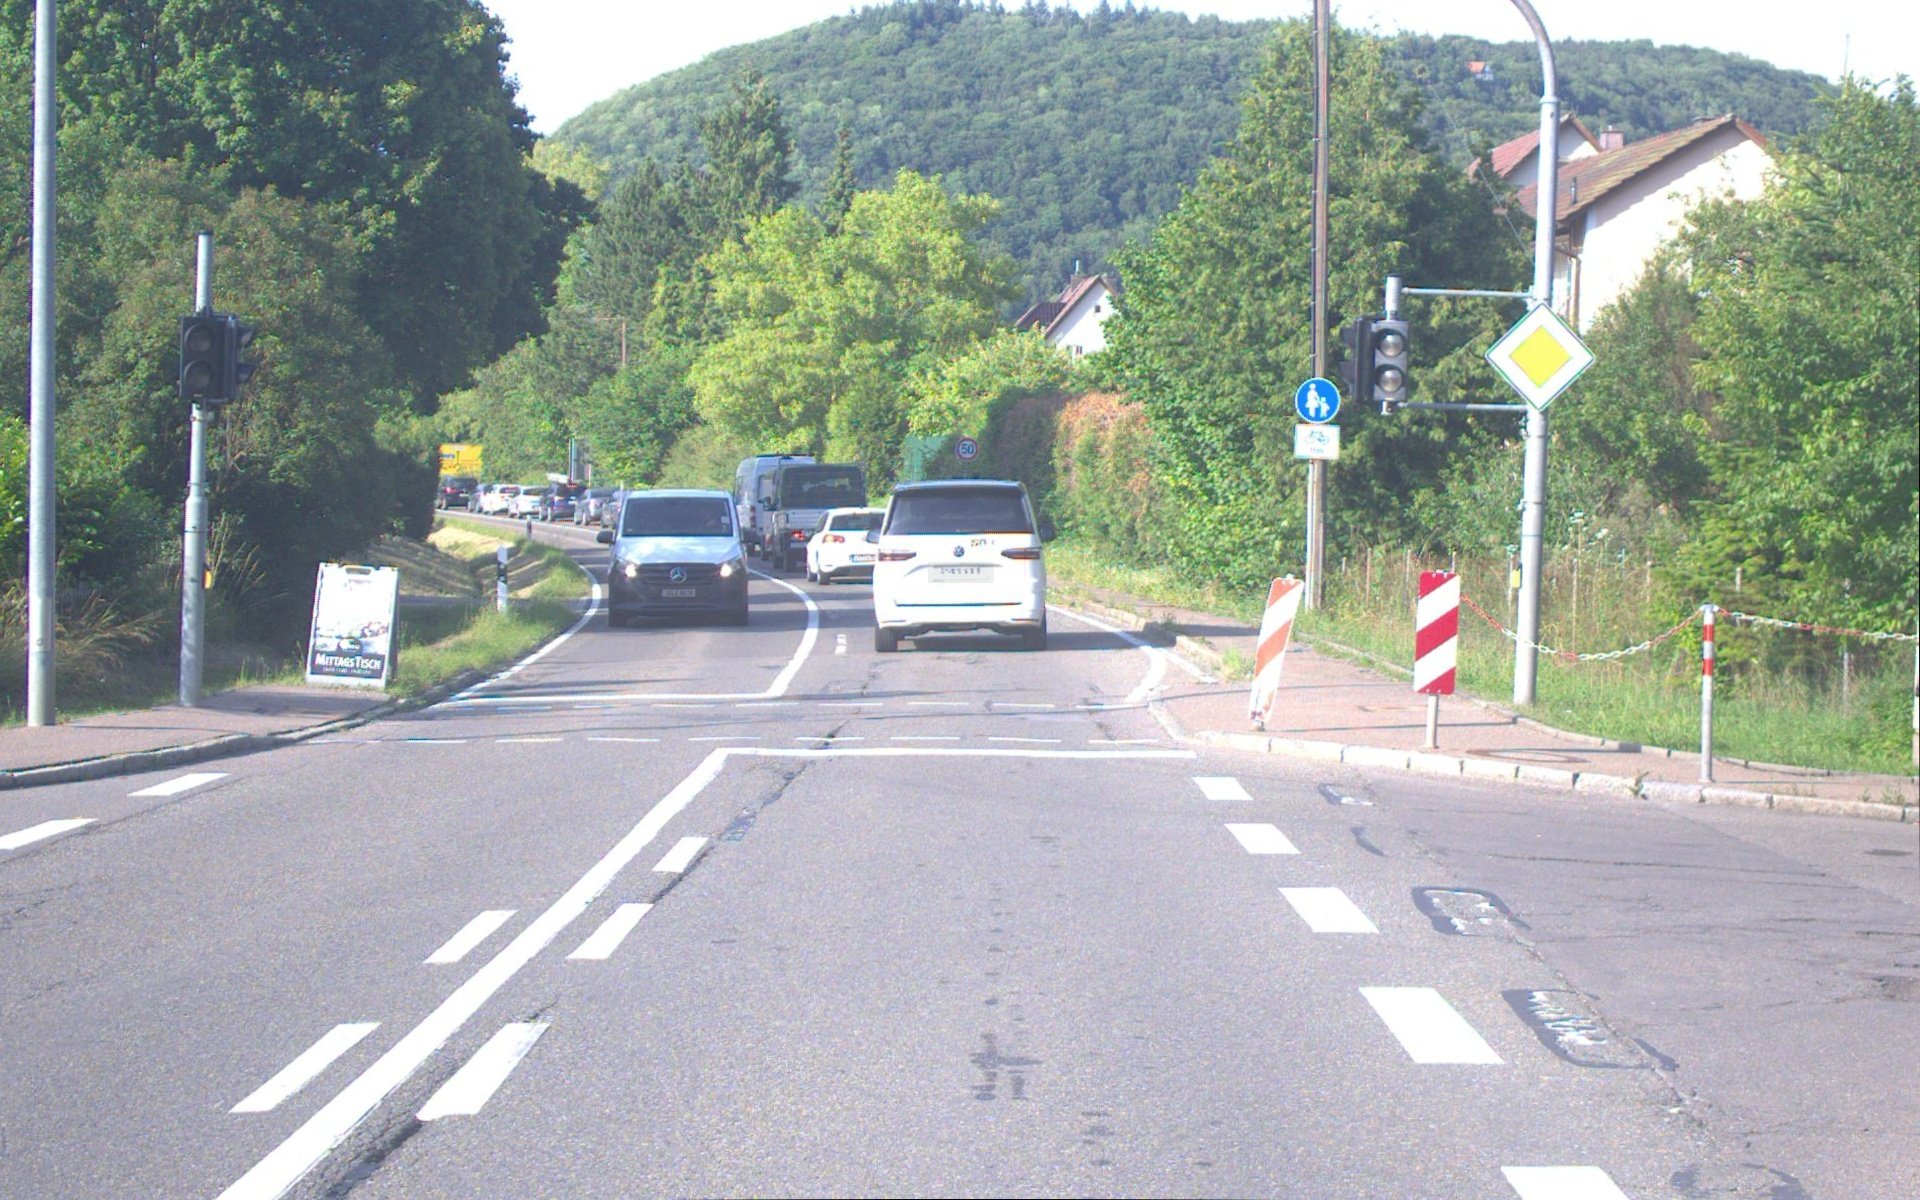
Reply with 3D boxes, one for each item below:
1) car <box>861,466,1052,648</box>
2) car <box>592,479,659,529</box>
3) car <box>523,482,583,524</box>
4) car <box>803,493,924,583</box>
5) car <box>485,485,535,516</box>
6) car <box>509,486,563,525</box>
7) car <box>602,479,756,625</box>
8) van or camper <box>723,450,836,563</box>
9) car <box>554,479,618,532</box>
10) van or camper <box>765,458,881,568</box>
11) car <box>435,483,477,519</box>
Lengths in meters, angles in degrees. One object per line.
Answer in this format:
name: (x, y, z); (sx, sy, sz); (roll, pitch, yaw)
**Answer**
car: (-0.007, -0.554, 39.564); (1.993, 1.870, 4.871); (2, 2, 1)
car: (-12.366, -3.564, 127.006); (1.796, 1.787, 4.002); (0, 2, -15)
car: (-16.986, -4.046, 143.303); (2.040, 1.678, 4.002); (0, 2, -13)
car: (-1.911, -1.240, 67.134); (1.993, 1.678, 4.001); (0, 2, -7)
car: (-21.089, -4.685, 160.887); (1.941, 1.419, 4.002); (0, 2, -13)
car: (-18.734, -4.159, 151.899); (1.941, 1.678, 4.001); (-1, 2, -13)
car: (-4.018, -0.731, 48.435); (1.993, 1.897, 5.255); (-1, 2, -6)
van or camper: (-4.848, -2.506, 91.593); (2.414, 2.894, 6.133); (0, 2, -9)
car: (-14.646, -3.709, 134.505); (1.993, 2.006, 4.002); (0, 2, -14)
van or camper: (-3.116, -1.971, 76.941); (2.179, 2.377, 5.371); (0, 2, -7)
car: (-25.889, -5.087, 176.572); (1.771, 1.776, 4.001); (-1, 2, -13)
